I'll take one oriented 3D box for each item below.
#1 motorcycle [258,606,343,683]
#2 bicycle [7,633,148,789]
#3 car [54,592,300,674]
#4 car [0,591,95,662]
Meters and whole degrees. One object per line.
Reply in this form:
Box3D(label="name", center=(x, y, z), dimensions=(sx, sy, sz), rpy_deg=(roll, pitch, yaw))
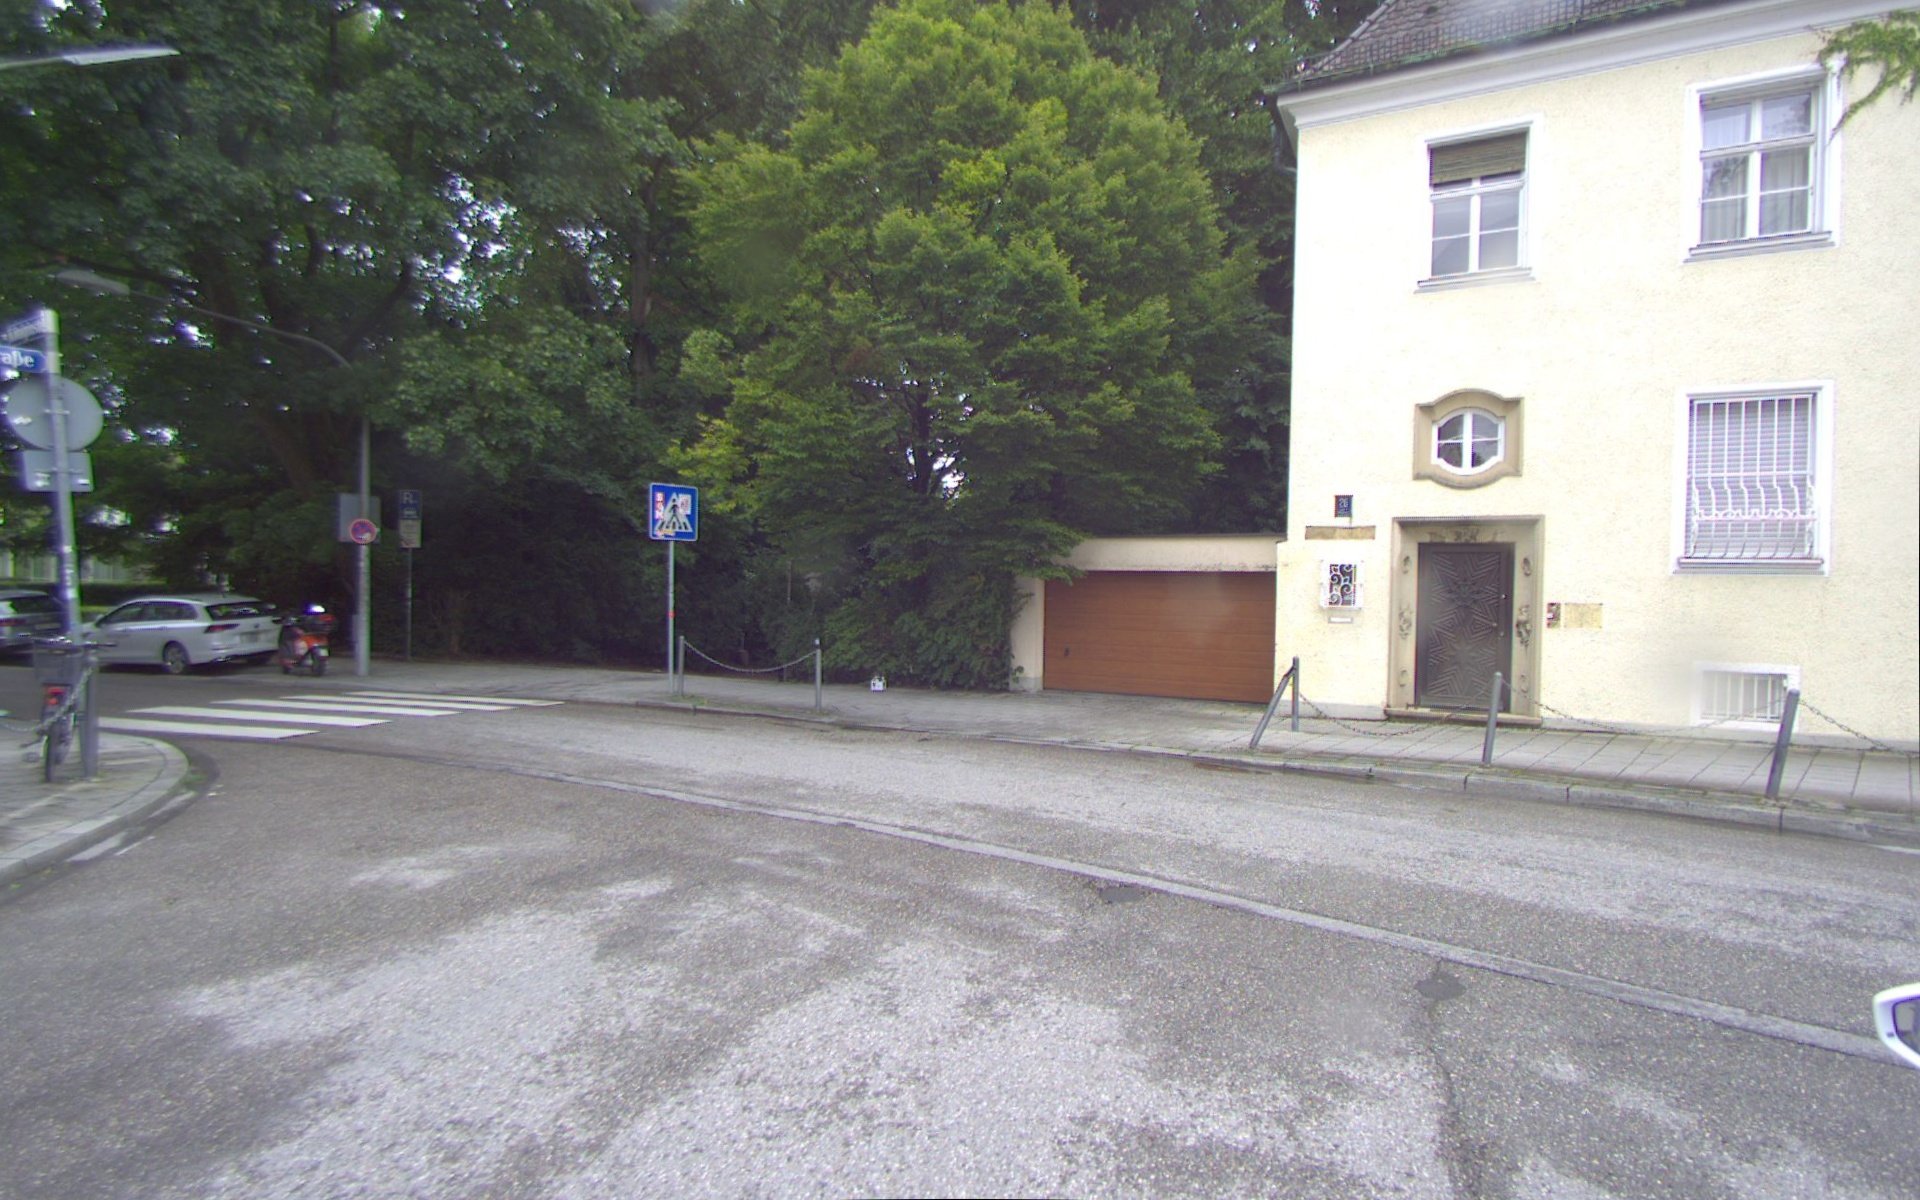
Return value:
Box3D(label="motorcycle", center=(-11.721, 0.753, 17.825), dimensions=(0.853, 1.200, 1.979), rpy_deg=(-3, 3, -44))
Box3D(label="bicycle", center=(-7.018, 0.817, 8.065), dimensions=(0.506, 1.023, 1.990), rpy_deg=(2, 0, -32))
Box3D(label="car", center=(-15.550, 0.609, 19.974), dimensions=(4.346, 1.468, 1.625), rpy_deg=(1, 0, 16))
Box3D(label="car", center=(-21.575, 0.550, 22.103), dimensions=(4.426, 1.451, 1.778), rpy_deg=(0, -1, 17))
